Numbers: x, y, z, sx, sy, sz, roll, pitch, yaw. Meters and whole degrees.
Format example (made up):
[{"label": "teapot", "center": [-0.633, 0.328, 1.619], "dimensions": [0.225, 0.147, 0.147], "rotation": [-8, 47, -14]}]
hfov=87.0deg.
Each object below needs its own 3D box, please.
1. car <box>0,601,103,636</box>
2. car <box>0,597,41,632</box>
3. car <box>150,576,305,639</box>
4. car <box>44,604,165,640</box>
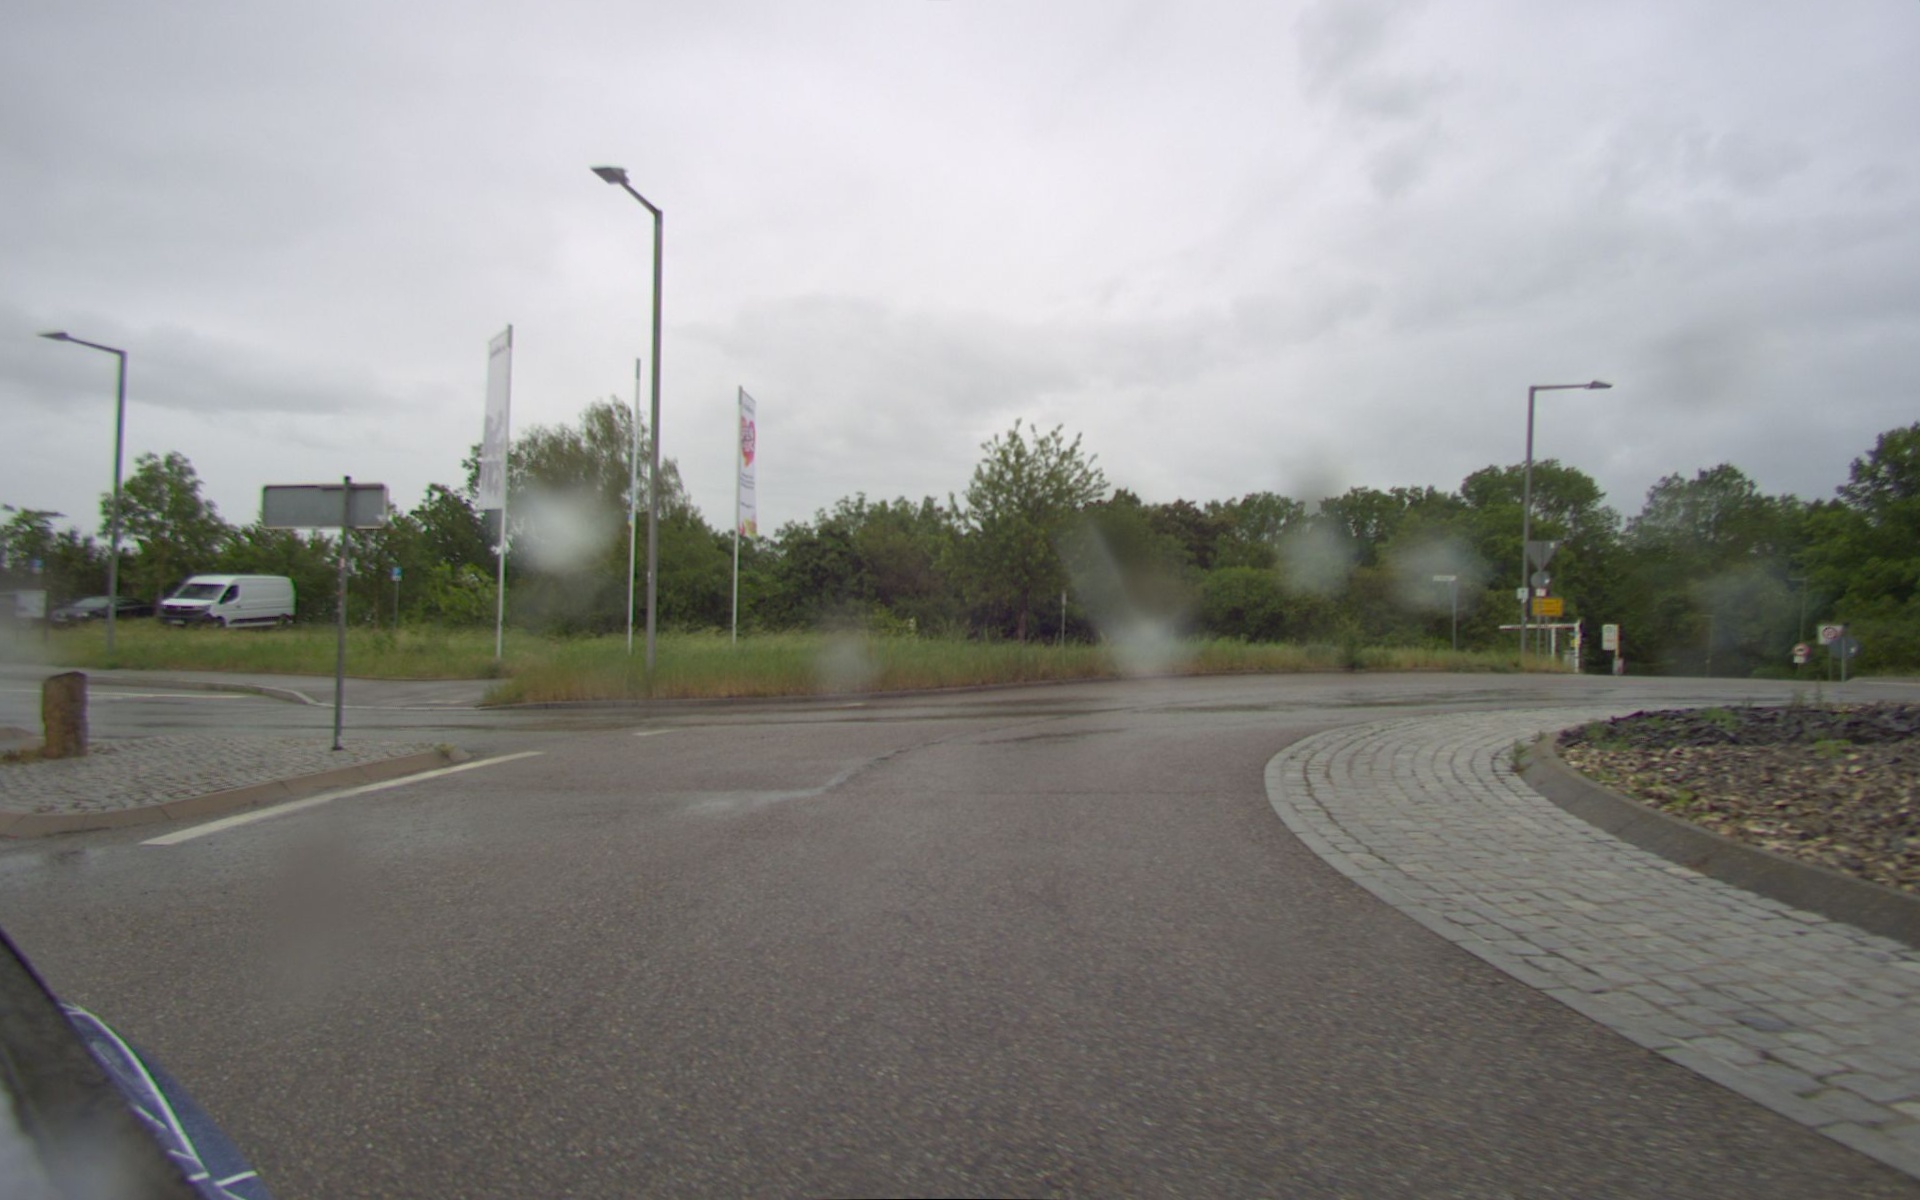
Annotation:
[{"label": "car", "center": [-38.795, 0.786, 42.671], "dimensions": [1.823, 1.374, 3.996], "rotation": [1, -2, 3]}, {"label": "car", "center": [-42.126, 0.595, 43.359], "dimensions": [1.823, 1.480, 3.998], "rotation": [1, -2, 1]}, {"label": "car", "center": [-31.323, 0.315, 43.622], "dimensions": [2.108, 2.415, 6.581], "rotation": [2, 0, -3]}, {"label": "car", "center": [-36.179, 0.904, 42.936], "dimensions": [1.631, 1.374, 3.997], "rotation": [1, 1, 3]}]
